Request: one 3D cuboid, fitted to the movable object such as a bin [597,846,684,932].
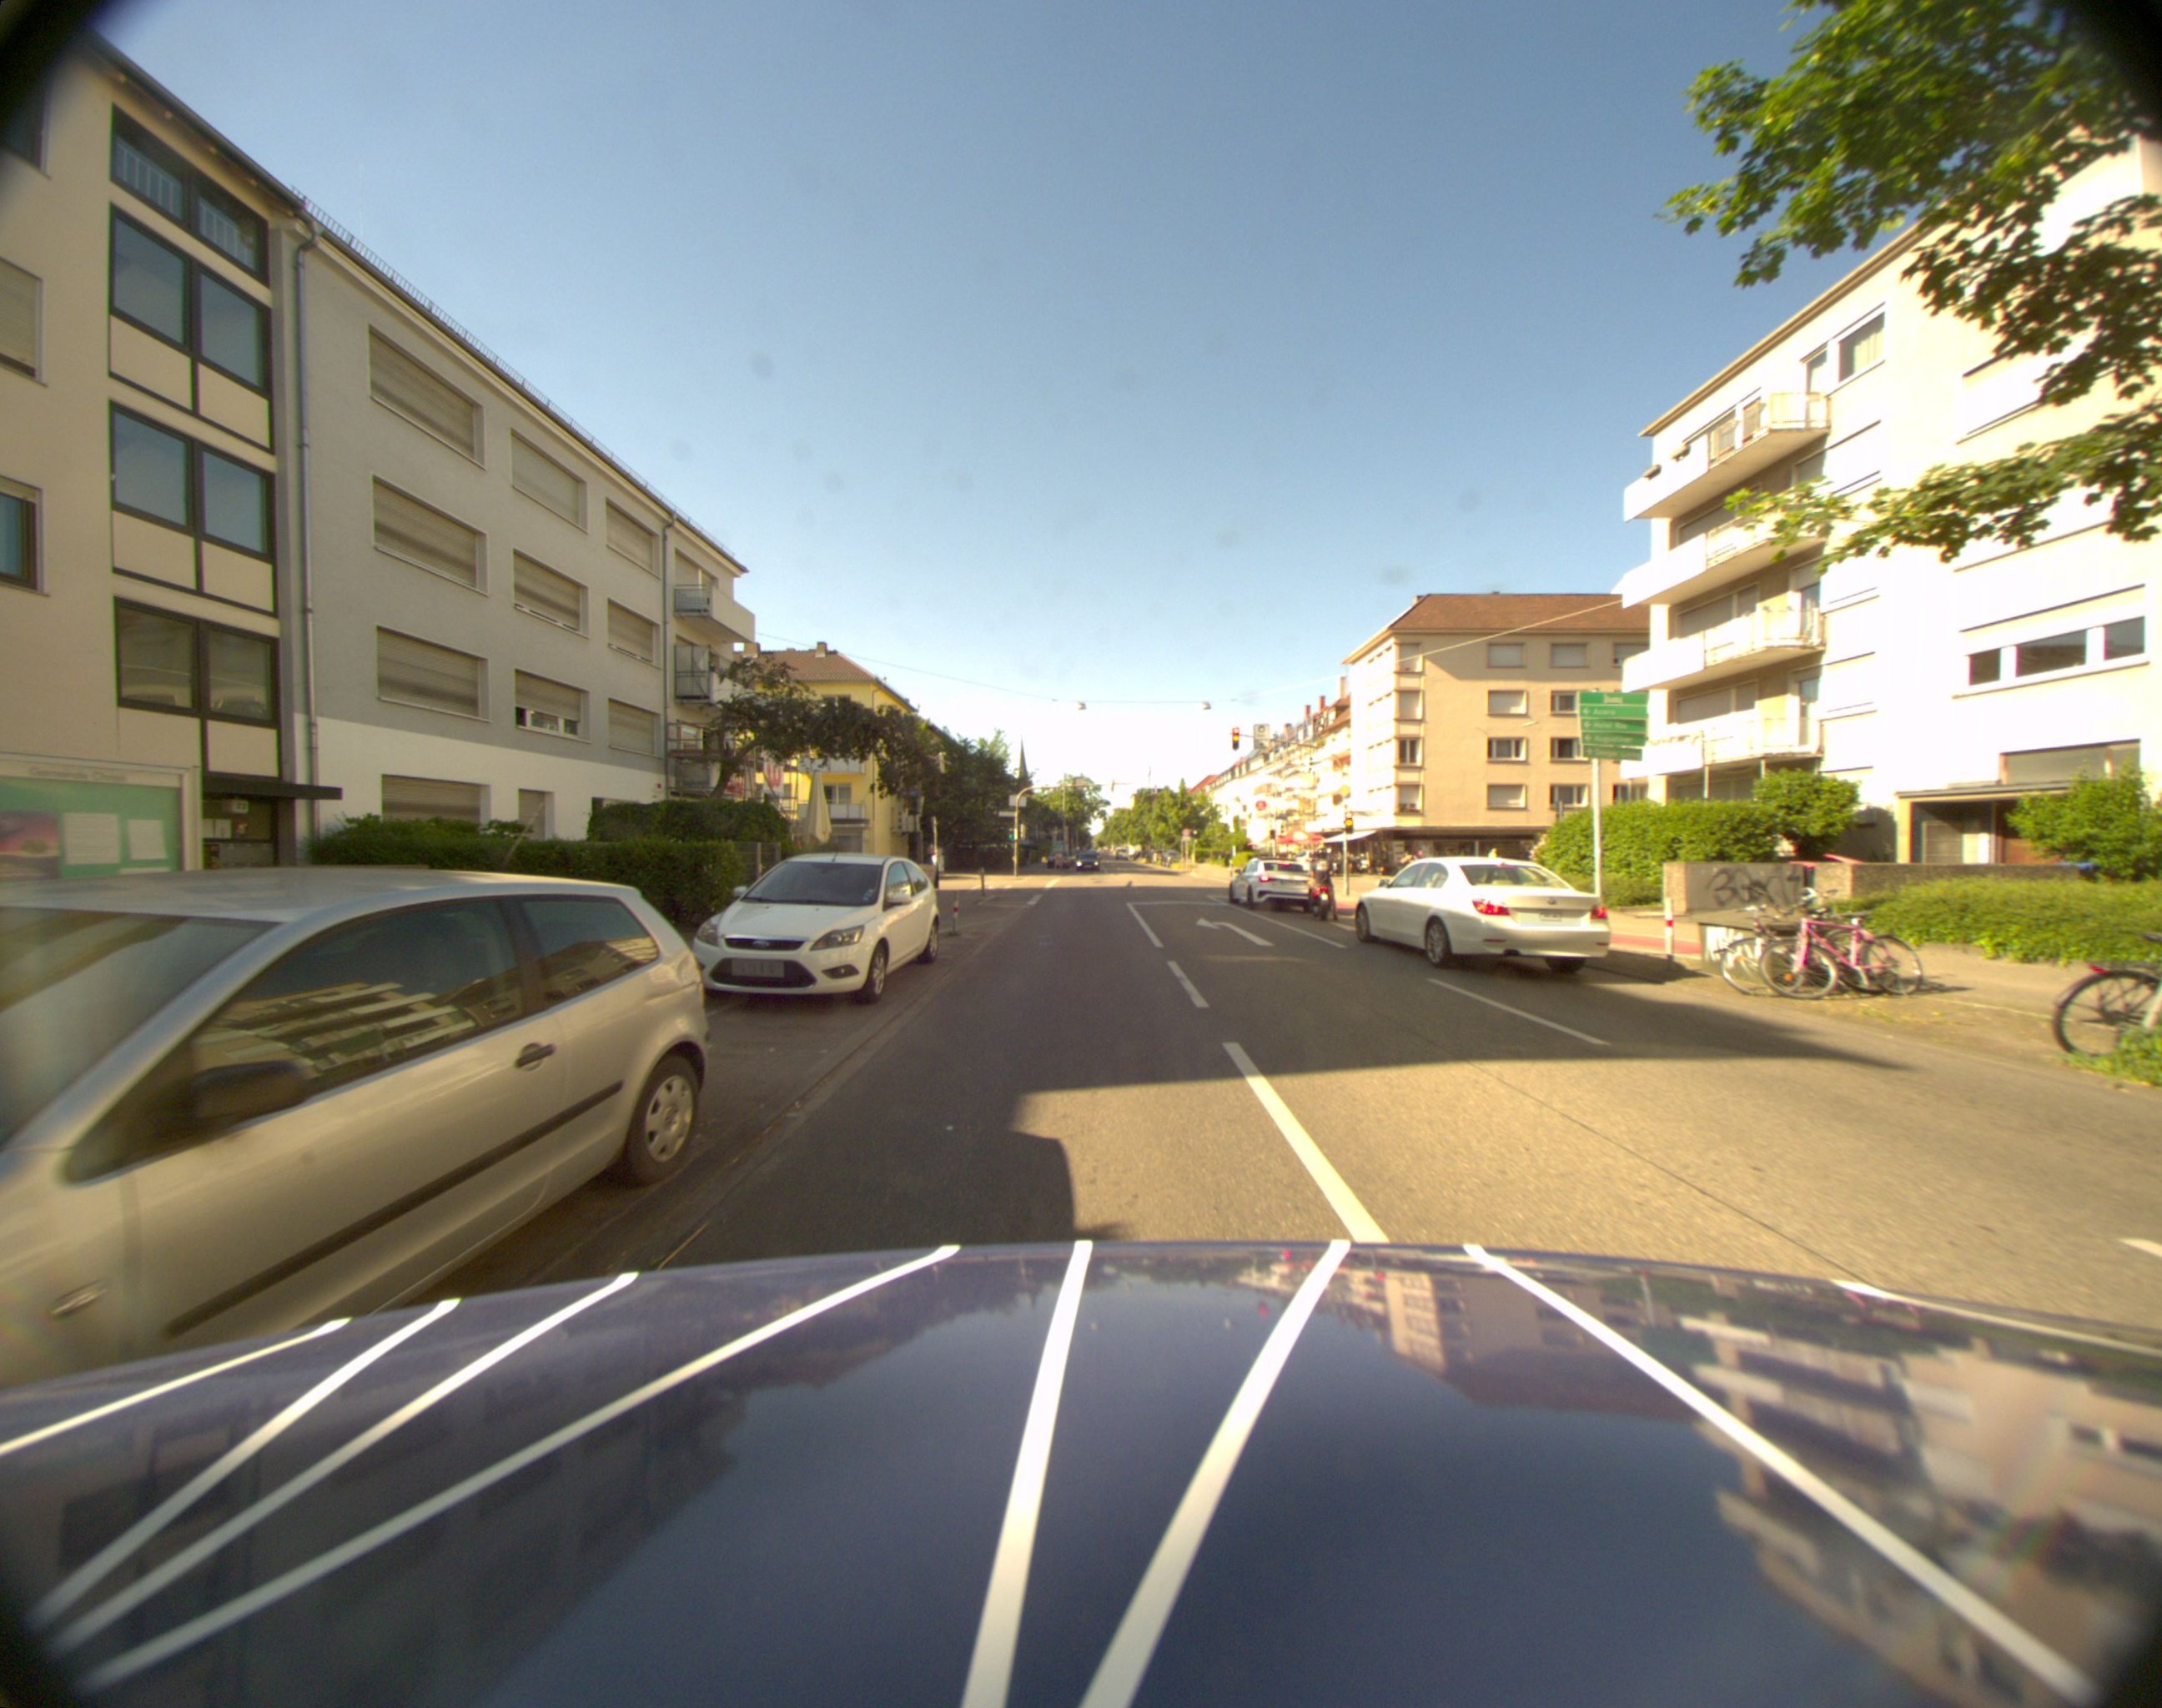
[{"bbox_3d":[-7.814,0.601,13.523,1.090,1.465,0.842,1,1,-9],"label":"movable object such as a bin"}]

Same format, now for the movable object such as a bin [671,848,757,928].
[{"bbox_3d":[-6.545,0.594,13.605,1.142,1.347,0.842,2,1,-9],"label":"movable object such as a bin"}]

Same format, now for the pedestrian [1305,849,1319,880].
[{"bbox_3d":[13.041,0.570,42.904,0.671,1.709,0.584,1,2,10],"label":"pedestrian"}]

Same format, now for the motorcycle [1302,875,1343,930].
[{"bbox_3d":[5.577,1.086,17.635,0.449,1.115,1.933,3,1,5],"label":"motorcycle"}]

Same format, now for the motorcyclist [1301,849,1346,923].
[{"bbox_3d":[5.598,0.712,17.584,0.730,1.637,0.918,3,1,6],"label":"motorcyclist"}]

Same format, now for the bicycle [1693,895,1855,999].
[{"bbox_3d":[8.491,1.096,9.408,0.427,1.072,1.706,1,1,0],"label":"bicycle"}]

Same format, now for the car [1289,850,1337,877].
[{"bbox_3d":[14.529,0.563,47.739,1.764,1.613,4.304,0,1,1],"label":"car"}]

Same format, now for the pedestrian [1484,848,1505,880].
[{"bbox_3d":[23.183,0.551,42.588,0.728,1.725,0.683,0,2,-1],"label":"pedestrian"}]

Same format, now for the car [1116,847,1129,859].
[{"bbox_3d":[6.686,-0.250,123.859,1.965,1.911,5.496,0,1,1],"label":"car"}]

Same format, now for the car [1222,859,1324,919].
[{"bbox_3d":[5.322,0.906,21.630,1.702,1.398,4.505,3,1,0],"label":"car"}]

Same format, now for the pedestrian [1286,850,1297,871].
[{"bbox_3d":[15.858,0.507,57.211,0.643,1.502,0.535,-4,1,-1],"label":"pedestrian"}]

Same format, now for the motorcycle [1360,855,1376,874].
[{"bbox_3d":[20.322,0.735,53.836,0.570,1.360,1.763,1,1,3],"label":"motorcycle"}]

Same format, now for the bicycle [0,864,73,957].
[{"bbox_3d":[-13.267,0.694,8.955,0.460,1.102,1.719,0,1,0],"label":"bicycle"}]

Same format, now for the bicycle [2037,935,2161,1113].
[{"bbox_3d":[7.979,1.143,5.327,1.831,1.080,0.560,-2,1,0],"label":"bicycle"}]

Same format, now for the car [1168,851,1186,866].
[{"bbox_3d":[8.934,0.387,71.061,1.322,1.348,3.093,0,1,1],"label":"car"}]

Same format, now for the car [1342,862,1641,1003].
[{"bbox_3d":[5.516,0.922,11.098,1.818,1.456,4.778,2,1,1],"label":"car"}]

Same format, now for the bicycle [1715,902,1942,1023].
[{"bbox_3d":[7.871,1.124,8.032,1.973,1.156,0.519,-1,1,-3],"label":"bicycle"}]

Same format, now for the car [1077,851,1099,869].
[{"bbox_3d":[0.555,0.430,58.152,1.654,1.348,4.304,0,1,1],"label":"car"}]

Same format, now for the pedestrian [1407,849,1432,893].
[{"bbox_3d":[13.072,0.651,29.326,0.659,1.649,0.682,0,1,2],"label":"pedestrian"}]

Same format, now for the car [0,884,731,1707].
[{"bbox_3d":[-2.744,0.925,2.162,1.570,1.448,3.865,1,1,2],"label":"car"}]

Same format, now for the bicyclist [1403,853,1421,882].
[{"bbox_3d":[17.915,0.722,41.099,0.685,1.598,0.578,0,1,-1],"label":"bicyclist"}]

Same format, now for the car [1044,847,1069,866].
[{"bbox_3d":[-2.019,0.188,63.156,1.822,1.542,4.304,0,1,1],"label":"car"}]

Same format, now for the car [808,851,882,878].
[{"bbox_3d":[-13.169,0.581,42.467,3.644,1.473,1.481,0,1,1],"label":"car"}]

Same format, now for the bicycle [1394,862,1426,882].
[{"bbox_3d":[17.769,0.992,41.061,1.565,1.070,0.449,0,1,-1],"label":"bicycle"}]

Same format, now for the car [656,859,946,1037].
[{"bbox_3d":[-2.880,0.857,8.896,1.743,1.473,4.196,1,1,1],"label":"car"}]

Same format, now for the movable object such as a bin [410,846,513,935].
[{"bbox_3d":[-10.759,0.612,13.232,1.090,1.483,0.842,1,1,-9],"label":"movable object such as a bin"}]
